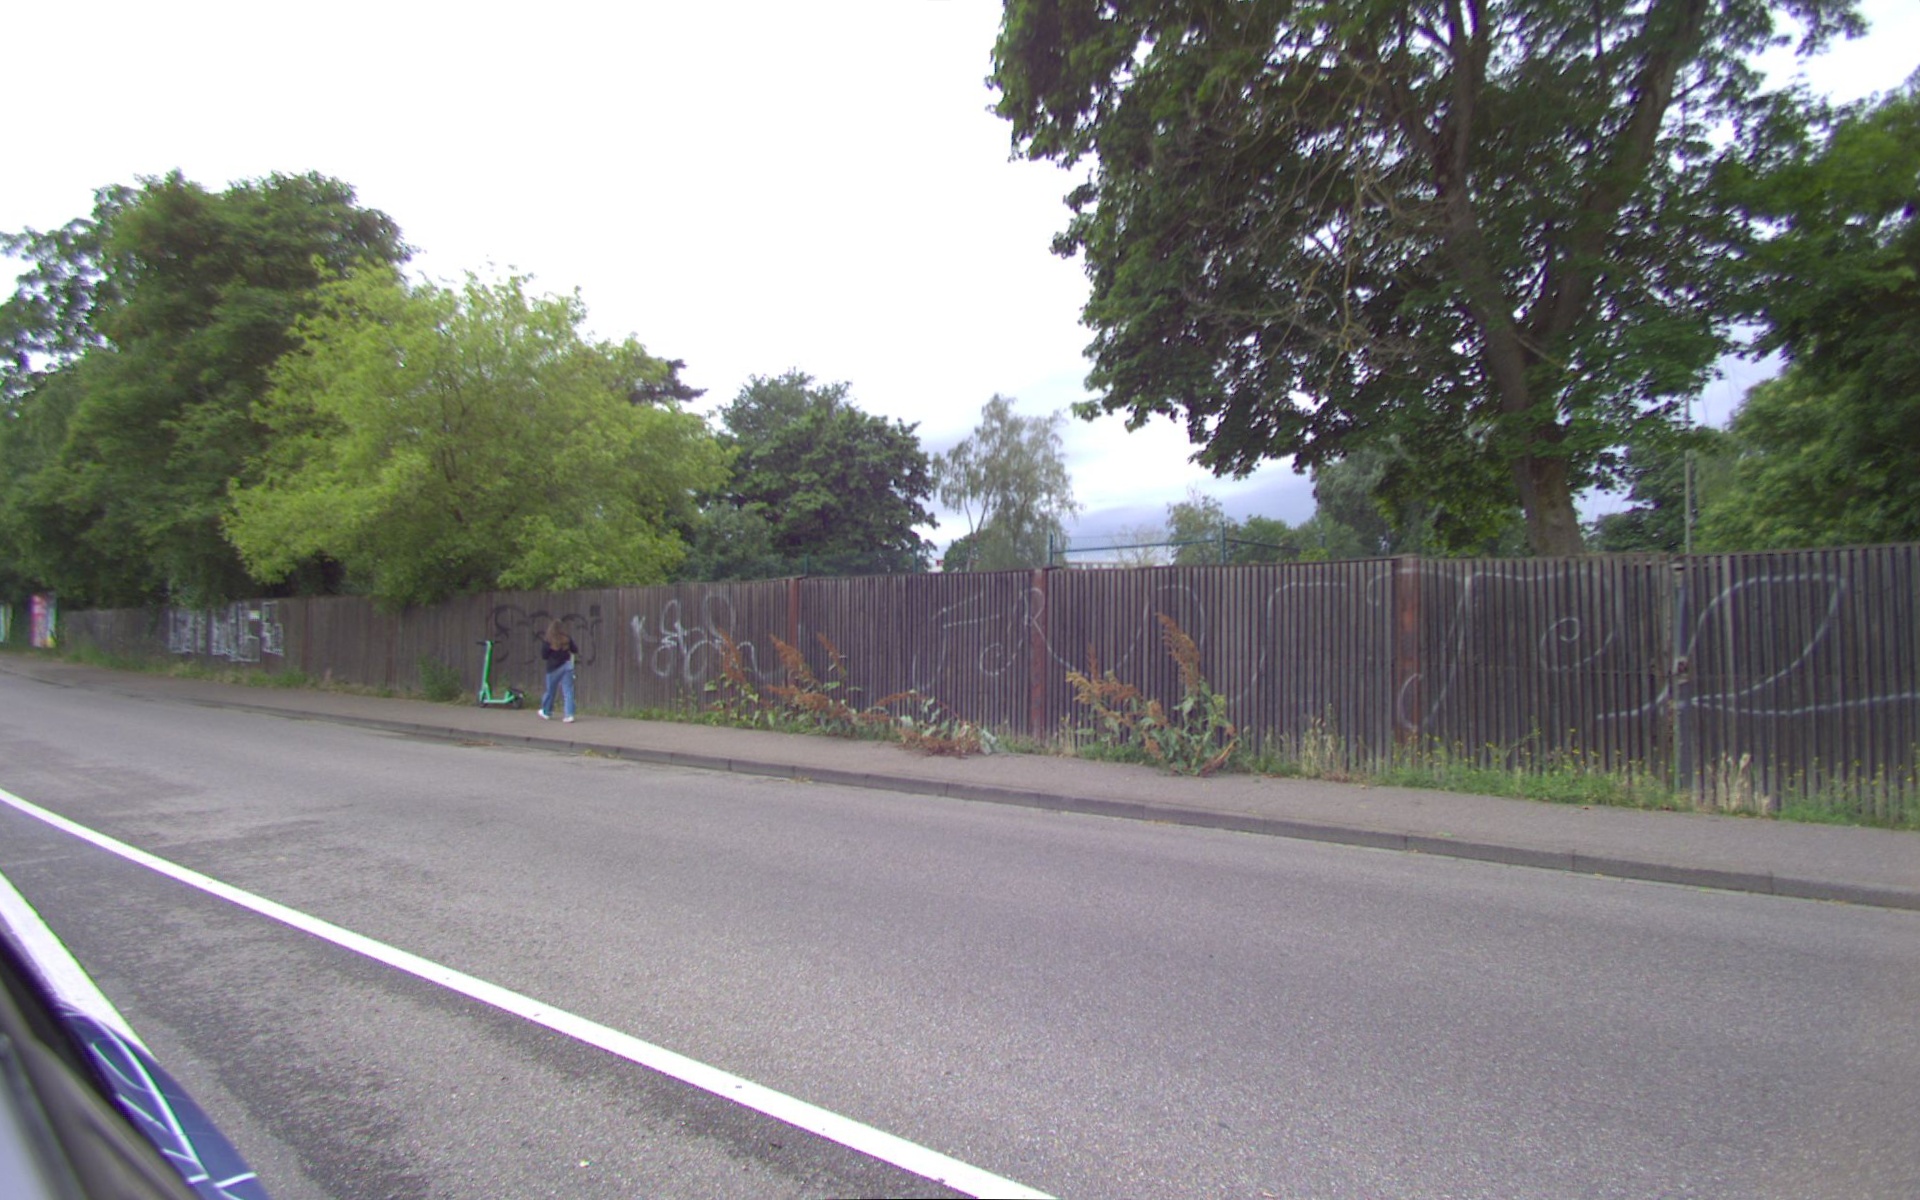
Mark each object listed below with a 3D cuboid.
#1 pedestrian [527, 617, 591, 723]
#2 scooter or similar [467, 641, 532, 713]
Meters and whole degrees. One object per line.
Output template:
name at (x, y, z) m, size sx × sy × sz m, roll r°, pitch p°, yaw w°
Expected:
pedestrian at (-6.031, 1.038, 15.220) m, size 0.723 × 1.541 × 0.606 m, roll -2°, pitch -2°, yaw 36°
scooter or similar at (-7.829, 1.288, 17.180) m, size 1.301 × 1.179 × 0.419 m, roll -2°, pitch -2°, yaw 36°
